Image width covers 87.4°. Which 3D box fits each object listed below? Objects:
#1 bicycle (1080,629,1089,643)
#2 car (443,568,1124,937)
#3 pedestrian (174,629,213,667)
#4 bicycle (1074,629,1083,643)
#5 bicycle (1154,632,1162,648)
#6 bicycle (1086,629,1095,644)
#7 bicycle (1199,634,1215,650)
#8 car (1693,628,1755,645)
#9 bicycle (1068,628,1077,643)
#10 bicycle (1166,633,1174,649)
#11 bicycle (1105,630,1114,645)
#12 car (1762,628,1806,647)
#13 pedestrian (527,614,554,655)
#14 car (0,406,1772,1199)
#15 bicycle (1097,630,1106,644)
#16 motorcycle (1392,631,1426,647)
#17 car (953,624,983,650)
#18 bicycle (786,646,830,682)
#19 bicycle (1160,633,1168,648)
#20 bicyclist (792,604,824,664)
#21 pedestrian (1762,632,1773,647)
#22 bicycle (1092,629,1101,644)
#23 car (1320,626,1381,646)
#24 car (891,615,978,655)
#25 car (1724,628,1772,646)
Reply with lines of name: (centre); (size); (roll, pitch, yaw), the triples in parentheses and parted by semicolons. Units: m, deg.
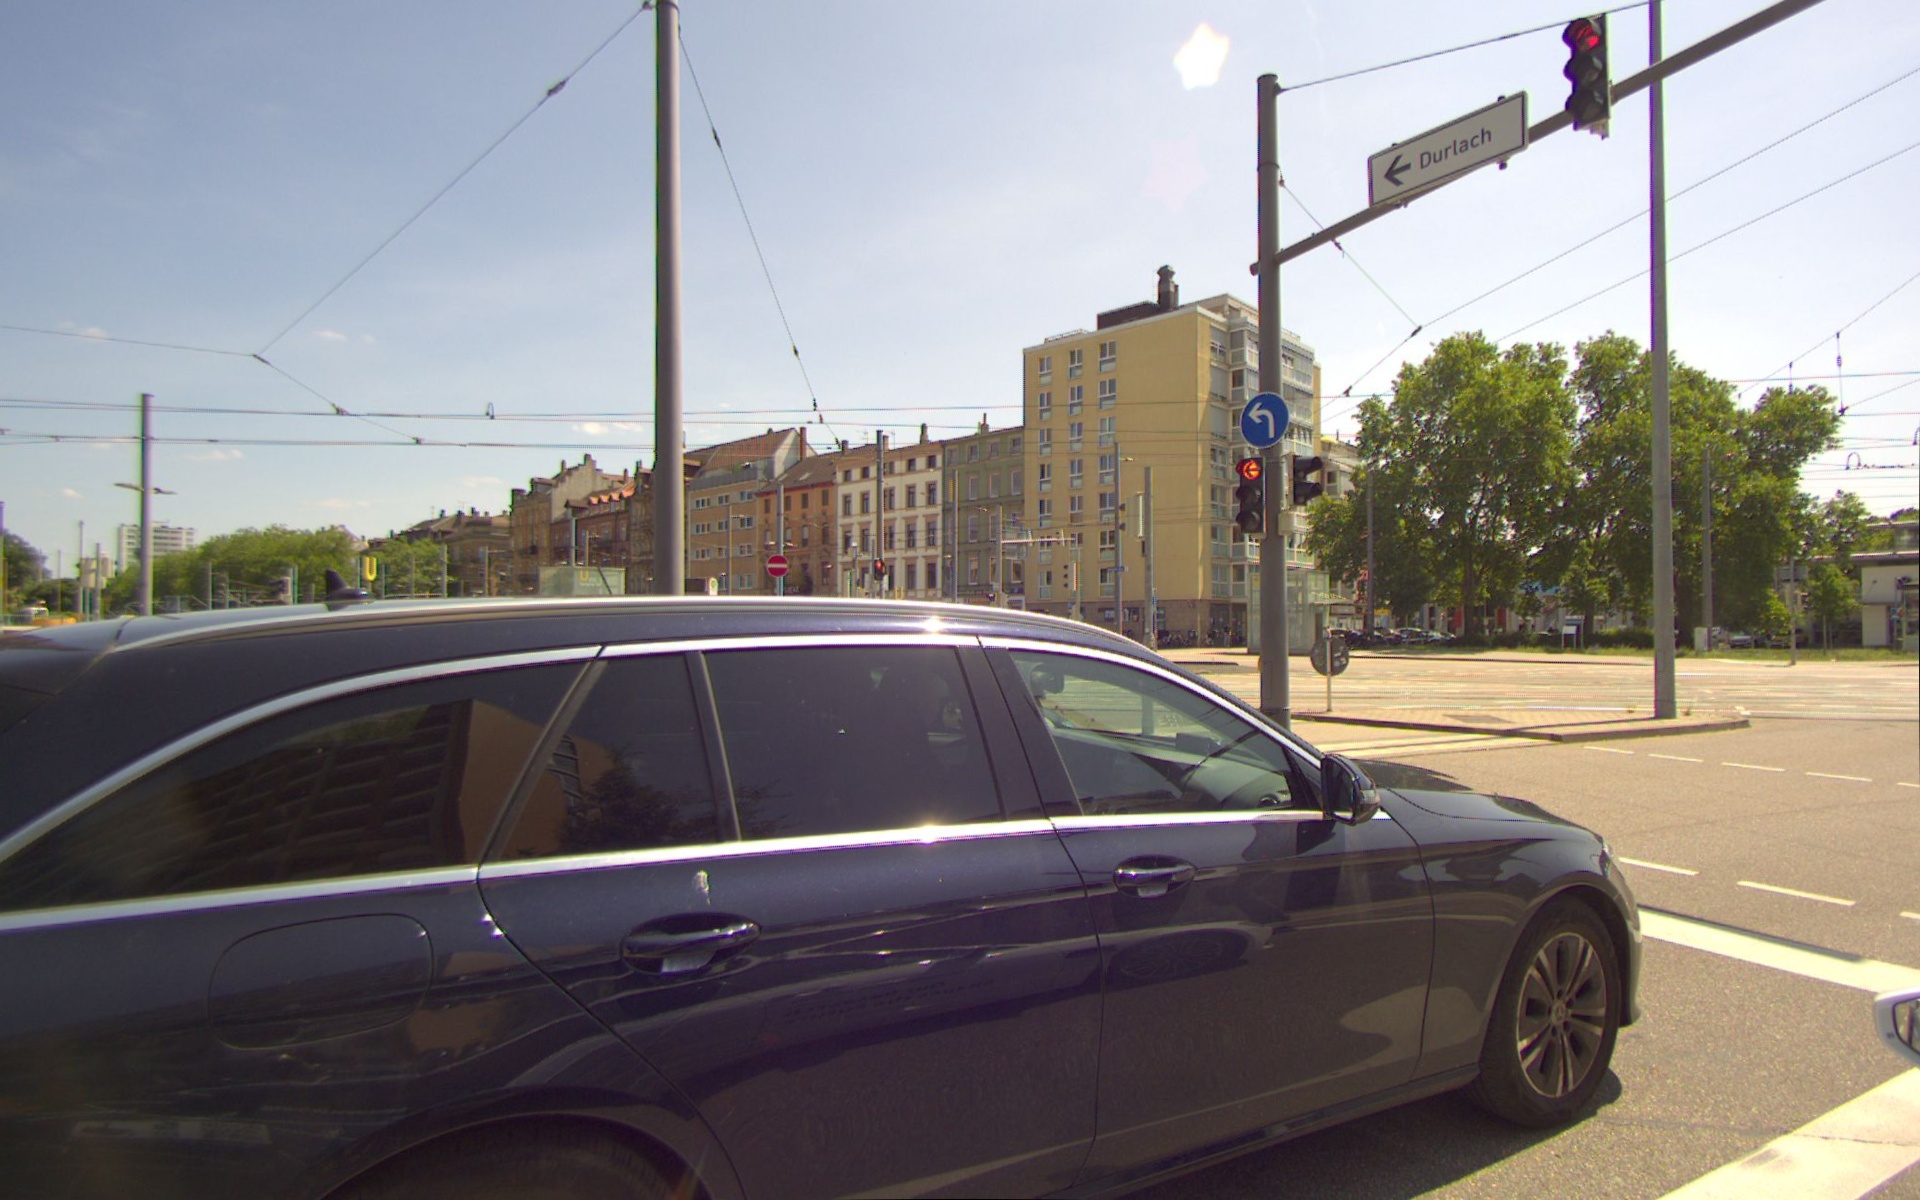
bicycle: (9.131, 2.638, 73.571); (0.424, 1.040, 1.445); (0, -1, 16)
car: (-1.006, 0.706, 6.047); (3.692, 1.597, 1.736); (1, -2, -30)
pedestrian: (-27.272, 1.709, 35.732); (0.978, 1.352, 0.527); (0, -1, 2)
bicycle: (8.704, 2.627, 74.008); (0.424, 1.040, 1.445); (0, -1, 16)
bicycle: (13.622, 2.755, 69.134); (0.424, 1.040, 1.445); (0, -1, 16)
bicycle: (9.492, 2.648, 73.262); (0.424, 1.040, 1.445); (0, -1, 16)
bicycle: (16.780, 2.850, 68.288); (0.427, 1.040, 1.435); (-1, -2, 44)
car: (70.946, 3.381, 93.344); (4.245, 1.530, 1.771); (-1, -2, 26)
bicycle: (8.362, 2.618, 74.347); (0.424, 1.040, 1.445); (0, -1, 16)
bicycle: (14.366, 2.775, 68.558); (0.424, 1.040, 1.445); (0, -1, 16)
bicycle: (10.768, 2.682, 72.309); (0.424, 1.040, 1.445); (0, -1, 16)
car: (69.150, 3.123, 84.271); (4.283, 1.530, 1.756); (1, -2, -35)
pedestrian: (-19.133, 1.562, 45.787); (1.114, 1.837, 0.677); (-1, -2, 38)
car: (0.104, 0.641, 2.830); (4.747, 1.662, 1.789); (1, 0, -30)
bicycle: (10.250, 2.668, 72.569); (0.424, 1.040, 1.445); (0, -1, 16)
motorcycle: (28.255, 2.462, 63.184); (1.887, 0.974, 0.524); (-1, -1, 31)
car: (0.544, 2.554, 70.484); (1.803, 1.773, 3.998); (0, -1, -4)
bicycle: (-4.026, 1.664, 26.504); (0.620, 0.866, 1.887); (1, -2, -26)
bicycle: (13.996, 2.765, 68.822); (0.424, 1.040, 1.445); (0, -1, 16)
bicyclist: (-4.027, 0.886, 26.557); (0.433, 1.549, 1.245); (2, 0, -26)
pedestrian: (66.289, 3.273, 82.453); (0.439, 1.220, 0.511); (1, -1, -24)
bicycle: (9.934, 2.660, 72.966); (0.424, 1.040, 1.445); (0, -1, 16)
car: (29.596, 2.708, 76.162); (3.939, 1.439, 1.991); (-1, -2, 39)
car: (-1.400, 1.871, 53.955); (1.987, 2.084, 4.807); (1, -2, -44)
car: (68.282, 3.206, 87.026); (4.274, 1.530, 1.759); (1, -2, -29)
